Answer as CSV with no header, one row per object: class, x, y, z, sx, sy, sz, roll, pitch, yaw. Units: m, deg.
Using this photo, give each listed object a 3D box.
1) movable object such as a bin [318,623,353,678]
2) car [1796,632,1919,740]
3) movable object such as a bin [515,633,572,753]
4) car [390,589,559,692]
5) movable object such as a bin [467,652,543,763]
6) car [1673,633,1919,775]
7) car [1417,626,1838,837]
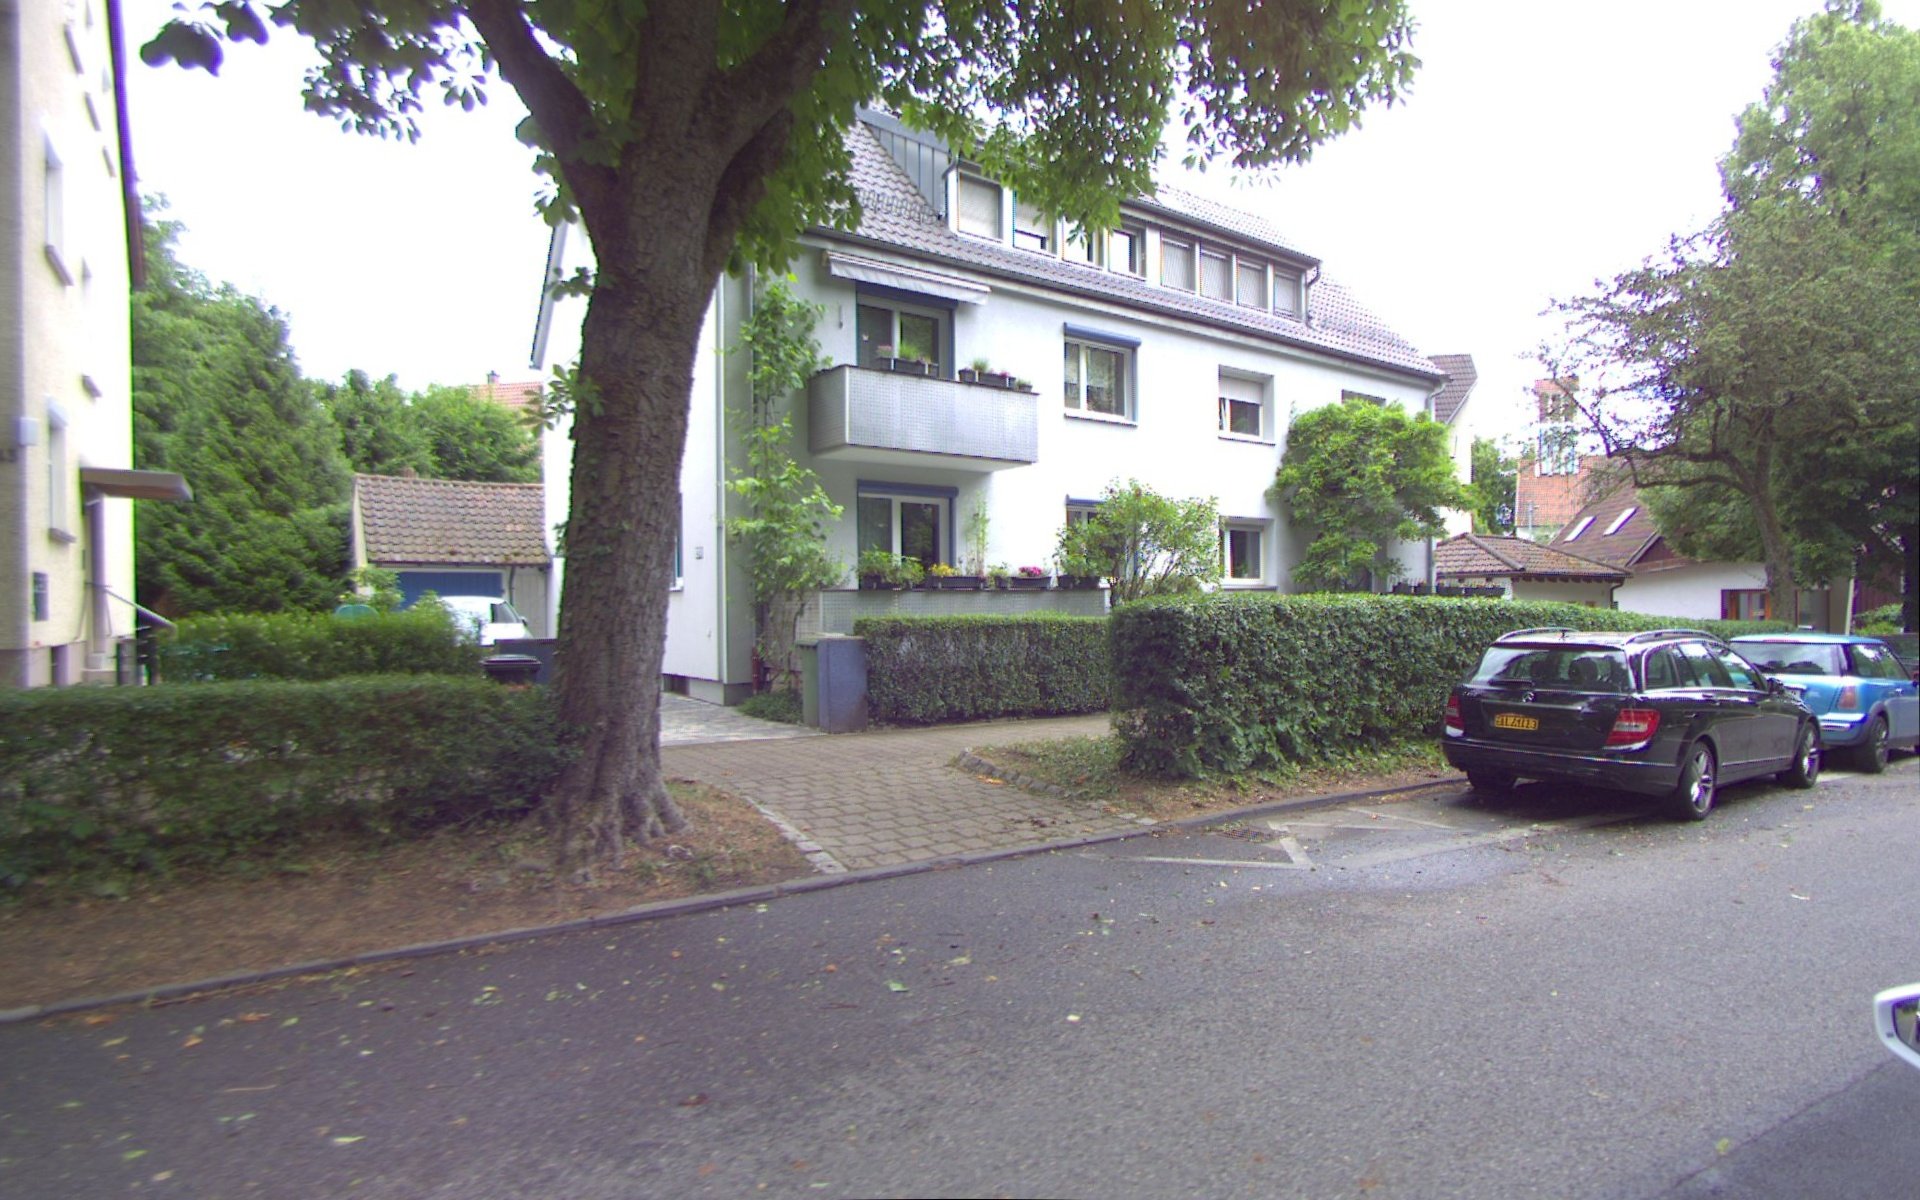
movable object such as a bin,-12.226,0.986,19.674,0.543,1.053,0.500,1,-2,-35
car,14.484,1.201,14.993,4.594,1.429,1.784,1,-2,-33
movable object such as a bin,-3.943,0.860,9.516,0.402,1.103,0.377,1,-2,-39
car,-8.346,0.662,17.090,1.784,1.530,3.956,1,-2,-38
movable object such as a bin,-4.008,0.929,8.846,0.504,0.927,0.452,1,-2,-39
car,10.060,1.096,11.799,3.671,1.410,1.653,1,-2,-36
car,6.179,0.990,9.124,4.375,1.492,1.782,1,-2,-36
